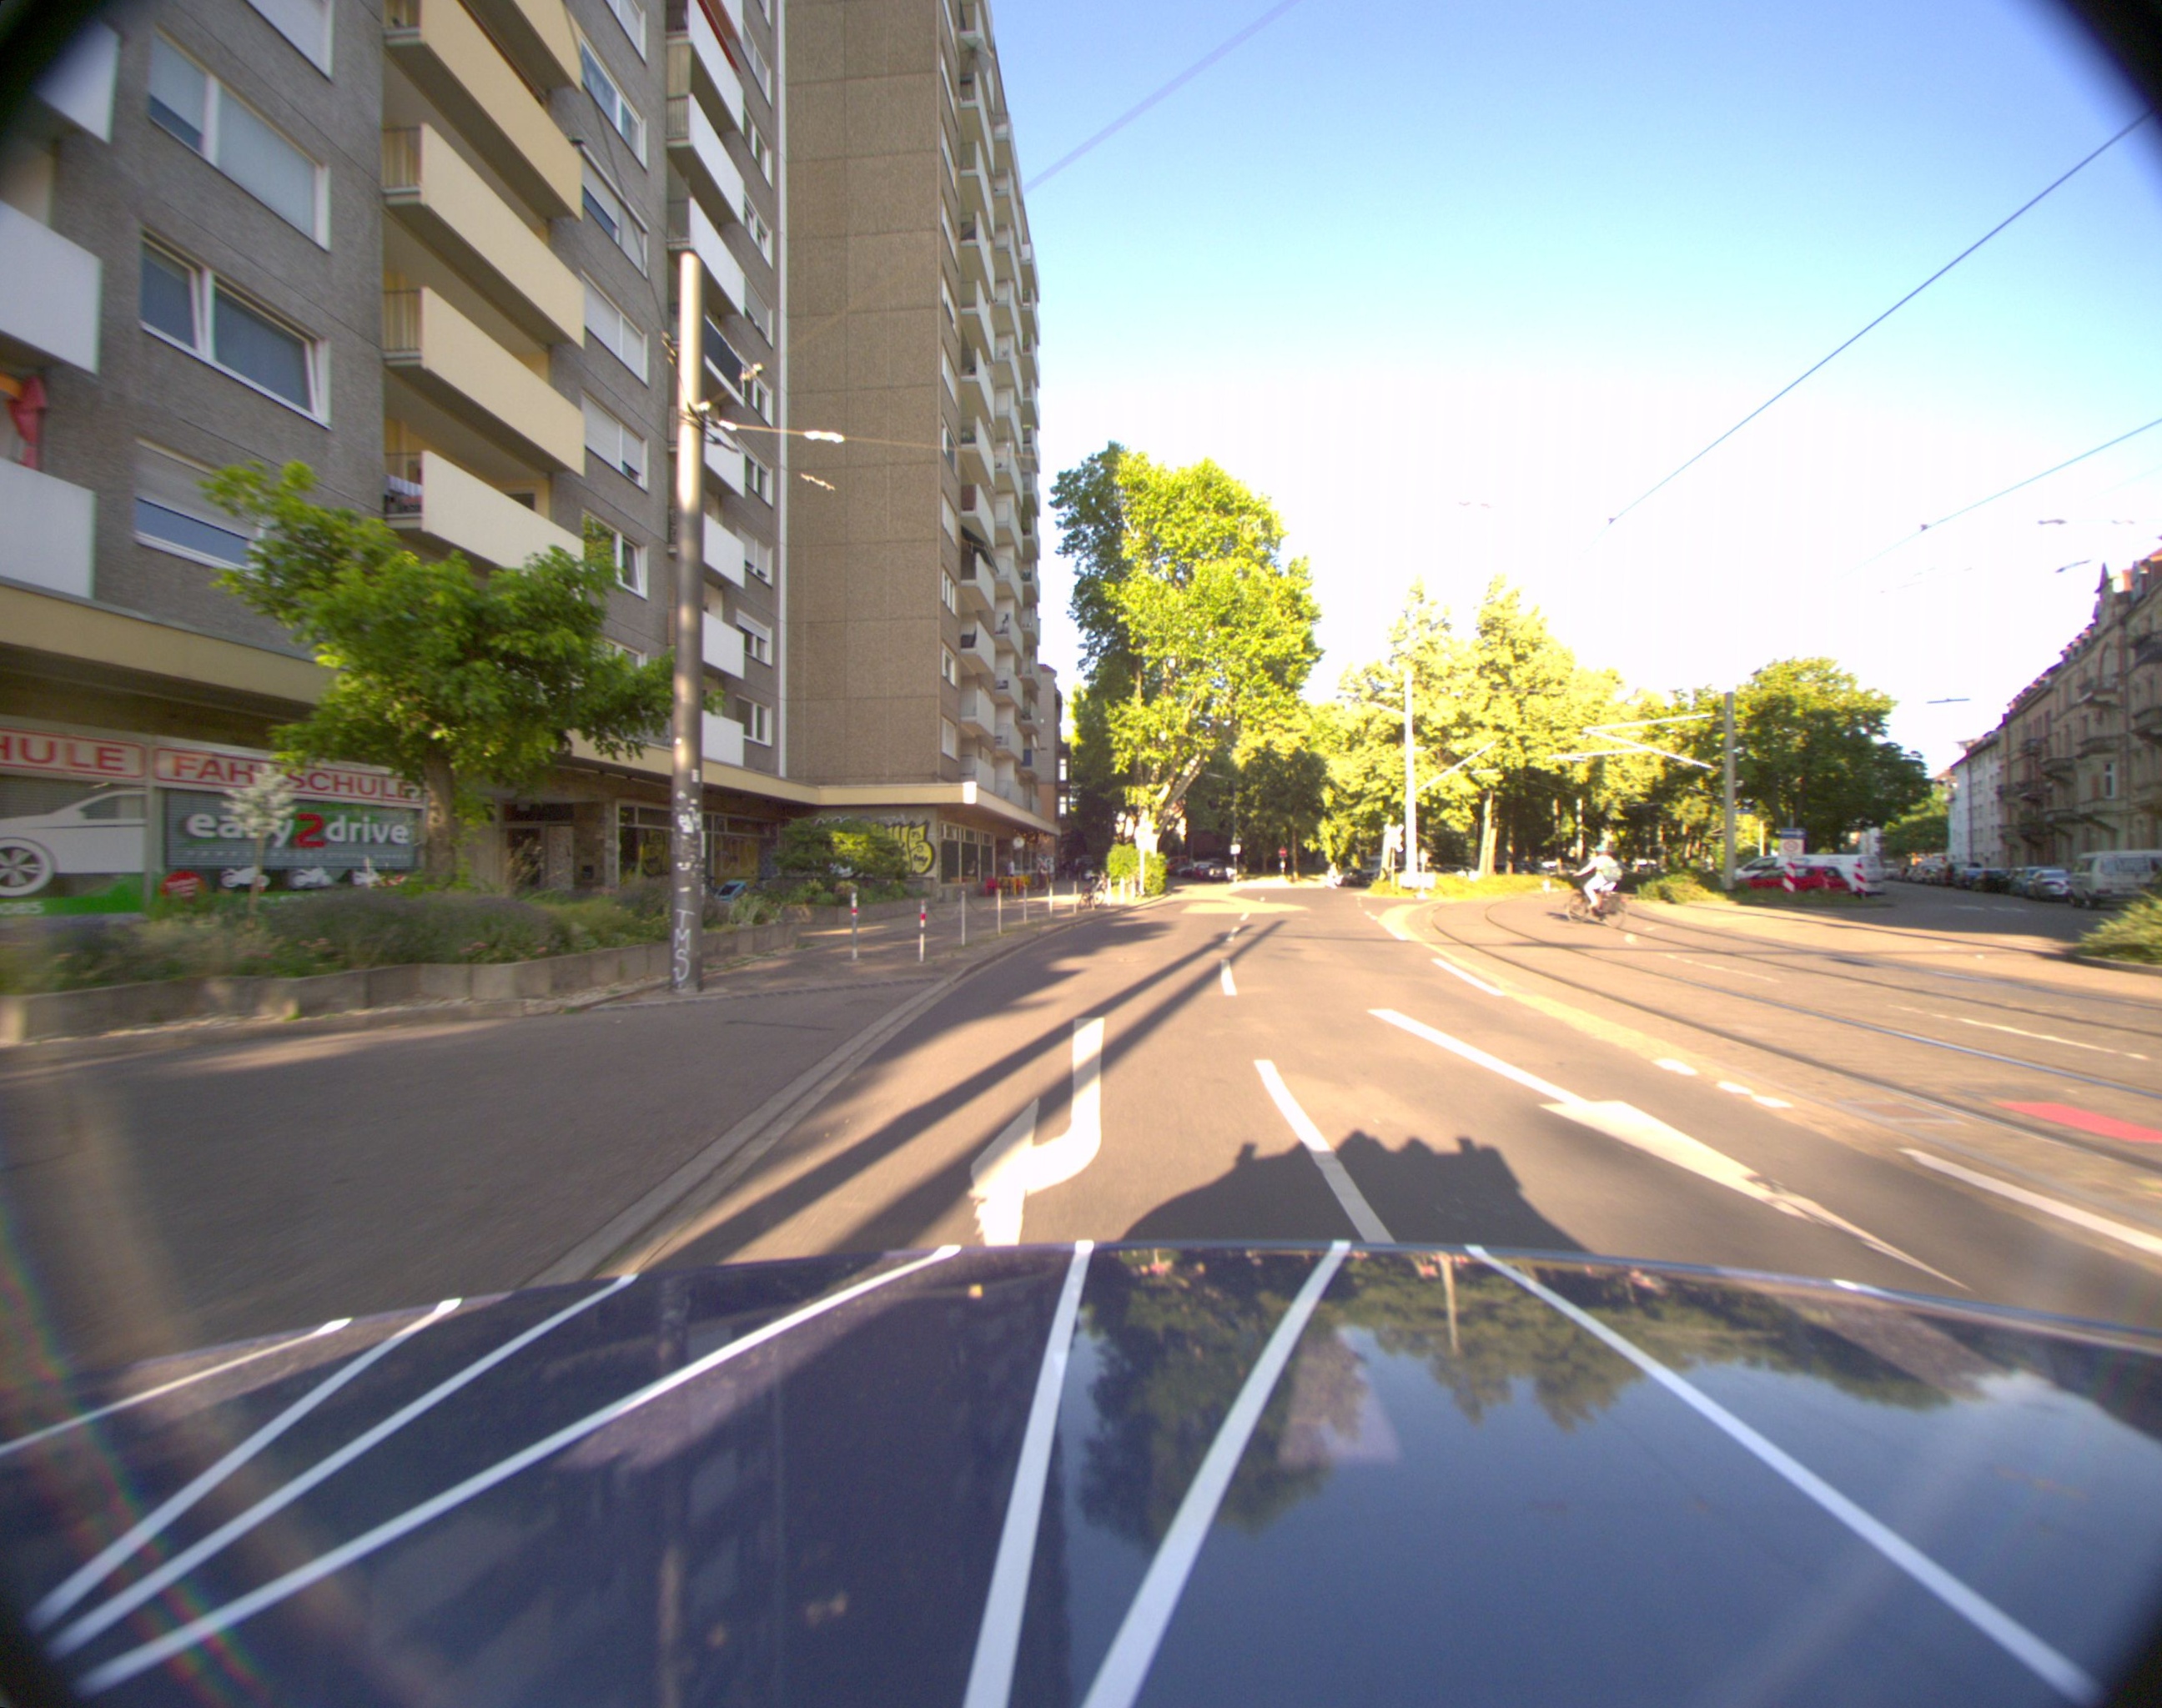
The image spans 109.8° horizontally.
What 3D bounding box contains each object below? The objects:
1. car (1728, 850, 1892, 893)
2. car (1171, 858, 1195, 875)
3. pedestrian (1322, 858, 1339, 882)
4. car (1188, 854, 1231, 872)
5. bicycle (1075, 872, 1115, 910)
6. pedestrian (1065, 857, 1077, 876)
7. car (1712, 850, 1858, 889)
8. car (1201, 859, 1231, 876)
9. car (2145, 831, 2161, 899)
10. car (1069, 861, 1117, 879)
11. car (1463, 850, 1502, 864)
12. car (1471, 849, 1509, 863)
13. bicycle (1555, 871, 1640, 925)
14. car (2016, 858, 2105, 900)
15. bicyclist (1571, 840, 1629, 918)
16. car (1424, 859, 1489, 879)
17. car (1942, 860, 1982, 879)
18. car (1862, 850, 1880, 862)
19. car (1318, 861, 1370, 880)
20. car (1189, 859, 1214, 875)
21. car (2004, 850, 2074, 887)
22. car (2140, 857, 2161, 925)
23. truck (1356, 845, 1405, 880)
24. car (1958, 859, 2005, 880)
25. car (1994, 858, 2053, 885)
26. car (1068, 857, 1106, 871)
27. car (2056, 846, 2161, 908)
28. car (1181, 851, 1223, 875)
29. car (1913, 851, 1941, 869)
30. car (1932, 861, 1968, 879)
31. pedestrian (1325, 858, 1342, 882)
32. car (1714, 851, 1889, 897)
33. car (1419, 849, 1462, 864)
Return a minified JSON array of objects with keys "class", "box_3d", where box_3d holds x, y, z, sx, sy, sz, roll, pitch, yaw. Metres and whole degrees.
[{"class":"car","box_3d":[33.140,0.772,34.756,2.003,1.798,5.049,0,0,-25]},{"class":"car","box_3d":[11.334,1.385,84.608,1.771,1.846,4.227,0,0,-5]},{"class":"pedestrian","box_3d":[18.421,1.157,56.110,0.889,1.757,0.829,0,0,-13]},{"class":"car","box_3d":[12.799,0.904,75.611,3.926,1.751,1.534,0,0,-6]},{"class":"bicycle","box_3d":[0.477,1.172,24.569,0.609,1.128,2.284,0,0,19]},{"class":"pedestrian","box_3d":[-1.064,1.348,80.634,1.213,2.002,1.206,0,0,-4]},{"class":"car","box_3d":[28.838,0.604,31.279,1.871,1.498,3.992,0,0,-25]},{"class":"car","box_3d":[11.498,1.120,64.900,1.740,1.440,3.630,0,0,-3]},{"class":"car","box_3d":[28.529,0.255,19.206,4.008,1.652,1.733,0,0,-38]},{"class":"car","box_3d":[0.992,1.371,65.556,3.999,1.499,1.885,0,0,-5]},{"class":"car","box_3d":[51.055,0.407,96.732,1.888,1.739,3.991,0,0,-27]},{"class":"car","box_3d":[53.056,0.308,98.611,1.888,1.739,3.991,0,0,-27]},{"class":"bicycle","box_3d":[12.117,0.998,17.903,0.611,1.168,1.951,0,0,-3]},{"class":"car","box_3d":[42.591,1.027,33.136,4.273,1.695,1.994,0,0,-43]},{"class":"bicyclist","box_3d":[12.115,0.570,17.768,0.607,1.752,1.060,0,0,-3]},{"class":"car","box_3d":[25.845,1.014,52.378,1.744,1.346,3.680,0,0,-30]},{"class":"car","box_3d":[66.256,1.154,57.189,3.696,1.345,1.736,0,-1,-44]},{"class":"car","box_3d":[130.421,0.385,125.498,4.007,1.772,1.994,-3,1,-45]},{"class":"car","box_3d":[20.390,1.264,58.907,4.008,1.390,1.945,0,0,-39]},{"class":"car","box_3d":[11.177,1.187,70.764,1.534,1.440,3.926,0,0,-3]},{"class":"car","box_3d":[46.989,0.688,37.340,3.696,1.695,1.838,0,0,-43]},{"class":"car","box_3d":[24.567,0.781,16.476,3.441,1.406,1.733,0,0,-38]},{"class":"truck","box_3d":[24.669,0.682,62.442,1.994,2.767,4.895,0,0,44]},{"class":"car","box_3d":[59.151,1.002,49.968,3.696,1.346,1.736,0,0,-44]},{"class":"car","box_3d":[50.391,0.912,40.680,3.696,1.346,1.736,0,0,-43]},{"class":"car","box_3d":[0.653,1.105,83.751,3.998,1.499,1.885,0,0,-4]},{"class":"car","box_3d":[36.239,0.742,26.741,4.645,2.002,1.994,0,0,-43]},{"class":"car","box_3d":[12.363,0.916,77.843,3.926,2.391,1.534,0,0,-6]},{"class":"car","box_3d":[85.994,0.627,77.264,4.008,1.745,1.798,0,0,-43]},{"class":"car","box_3d":[70.068,1.267,61.326,3.696,1.346,1.736,0,0,-44]},{"class":"pedestrian","box_3d":[18.333,1.168,55.123,0.889,1.757,0.829,0,0,-13]},{"class":"car","box_3d":[30.678,0.805,32.573,2.003,1.777,5.049,0,0,-25]},{"class":"car","box_3d":[41.920,0.331,88.782,2.002,1.739,4.436,0,0,-20]}]
